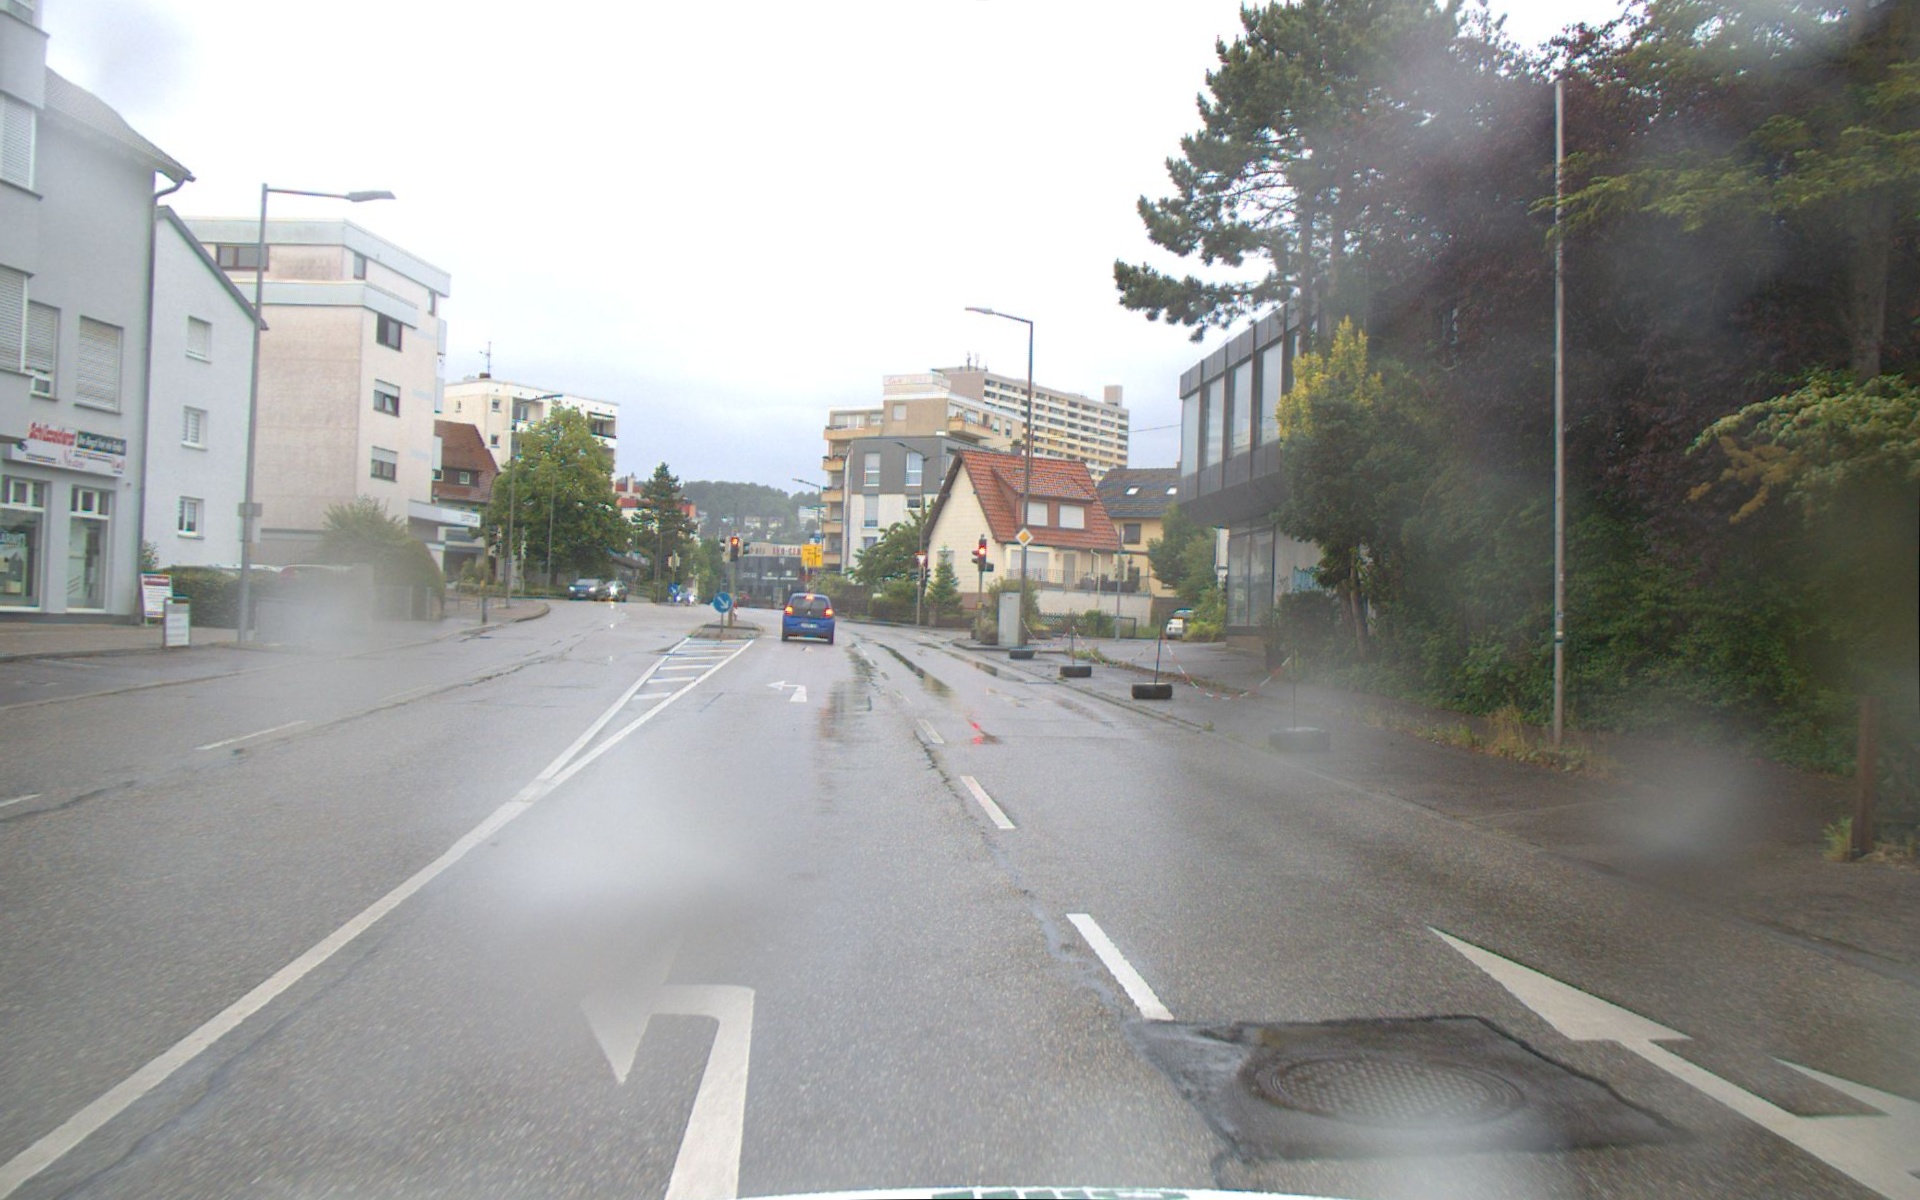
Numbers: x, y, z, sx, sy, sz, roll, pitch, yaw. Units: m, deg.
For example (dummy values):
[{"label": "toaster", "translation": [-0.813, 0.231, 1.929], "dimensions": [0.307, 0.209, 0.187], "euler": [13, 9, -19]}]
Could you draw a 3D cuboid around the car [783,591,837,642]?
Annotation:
[{"label": "car", "translation": [-4.574, 0.488, 50.699], "dimensions": [1.548, 1.435, 3.267], "euler": [3, 0, -5]}]

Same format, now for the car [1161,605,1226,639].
[{"label": "car", "translation": [11.560, 1.087, 81.665], "dimensions": [1.708, 1.541, 3.990], "euler": [2, 0, 32]}]

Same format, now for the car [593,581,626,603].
[{"label": "car", "translation": [-24.204, -0.582, 114.241], "dimensions": [1.682, 1.411, 4.016], "euler": [3, 0, -5]}]

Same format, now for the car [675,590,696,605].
[{"label": "car", "translation": [-28.127, -0.253, 169.738], "dimensions": [1.744, 1.445, 3.826], "euler": [3, 0, -5]}]

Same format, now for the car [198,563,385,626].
[{"label": "car", "translation": [-17.655, -0.148, 43.814], "dimensions": [4.133, 1.499, 1.904], "euler": [2, 0, 0]}]

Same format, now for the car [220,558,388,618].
[{"label": "car", "translation": [-20.250, -0.359, 51.143], "dimensions": [4.357, 1.665, 1.940], "euler": [2, 0, 5]}]

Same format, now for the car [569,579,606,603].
[{"label": "car", "translation": [-24.108, -0.554, 107.108], "dimensions": [1.744, 1.445, 3.826], "euler": [3, 0, -5]}]

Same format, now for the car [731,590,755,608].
[{"label": "car", "translation": [-19.417, -0.065, 148.056], "dimensions": [1.777, 1.512, 4.185], "euler": [2, 0, -4]}]
